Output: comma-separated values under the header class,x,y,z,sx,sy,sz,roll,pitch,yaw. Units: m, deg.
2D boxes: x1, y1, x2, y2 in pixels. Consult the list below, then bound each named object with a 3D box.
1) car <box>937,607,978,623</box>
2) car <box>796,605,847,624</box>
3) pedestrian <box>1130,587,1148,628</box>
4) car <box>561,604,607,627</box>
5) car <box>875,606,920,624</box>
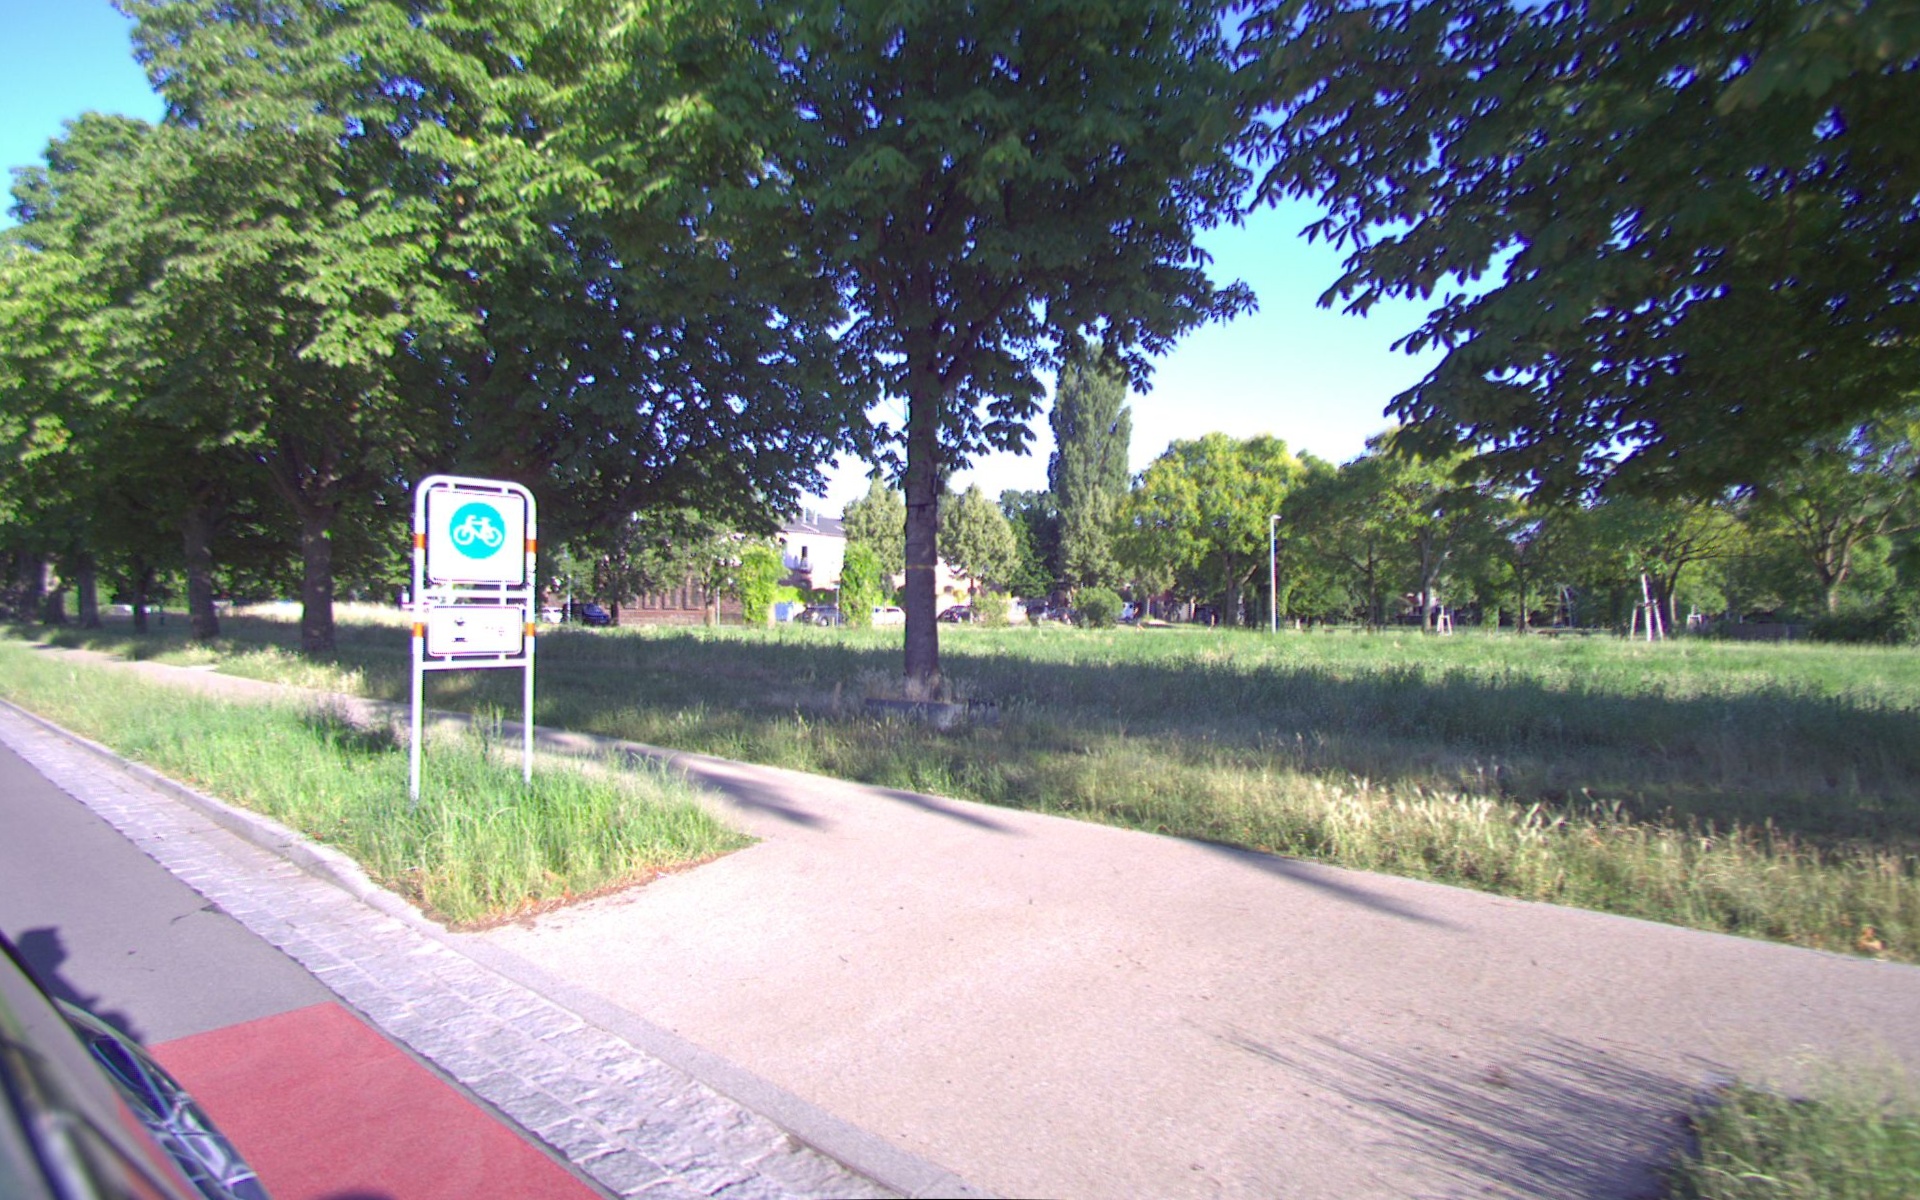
class,x,y,z,sx,sy,sz,roll,pitch,yaw
car,-0.178,1.285,88.849,1.586,1.290,3.589,1,1,42
car,-10.276,1.077,75.137,1.586,1.290,3.589,1,1,42
pedestrian,7.809,0.321,44.130,0.709,1.737,0.774,0,1,13
car,-26.415,1.046,71.065,3.639,1.492,1.564,1,1,42
car,-5.027,1.198,81.462,1.586,1.290,3.589,1,1,42
